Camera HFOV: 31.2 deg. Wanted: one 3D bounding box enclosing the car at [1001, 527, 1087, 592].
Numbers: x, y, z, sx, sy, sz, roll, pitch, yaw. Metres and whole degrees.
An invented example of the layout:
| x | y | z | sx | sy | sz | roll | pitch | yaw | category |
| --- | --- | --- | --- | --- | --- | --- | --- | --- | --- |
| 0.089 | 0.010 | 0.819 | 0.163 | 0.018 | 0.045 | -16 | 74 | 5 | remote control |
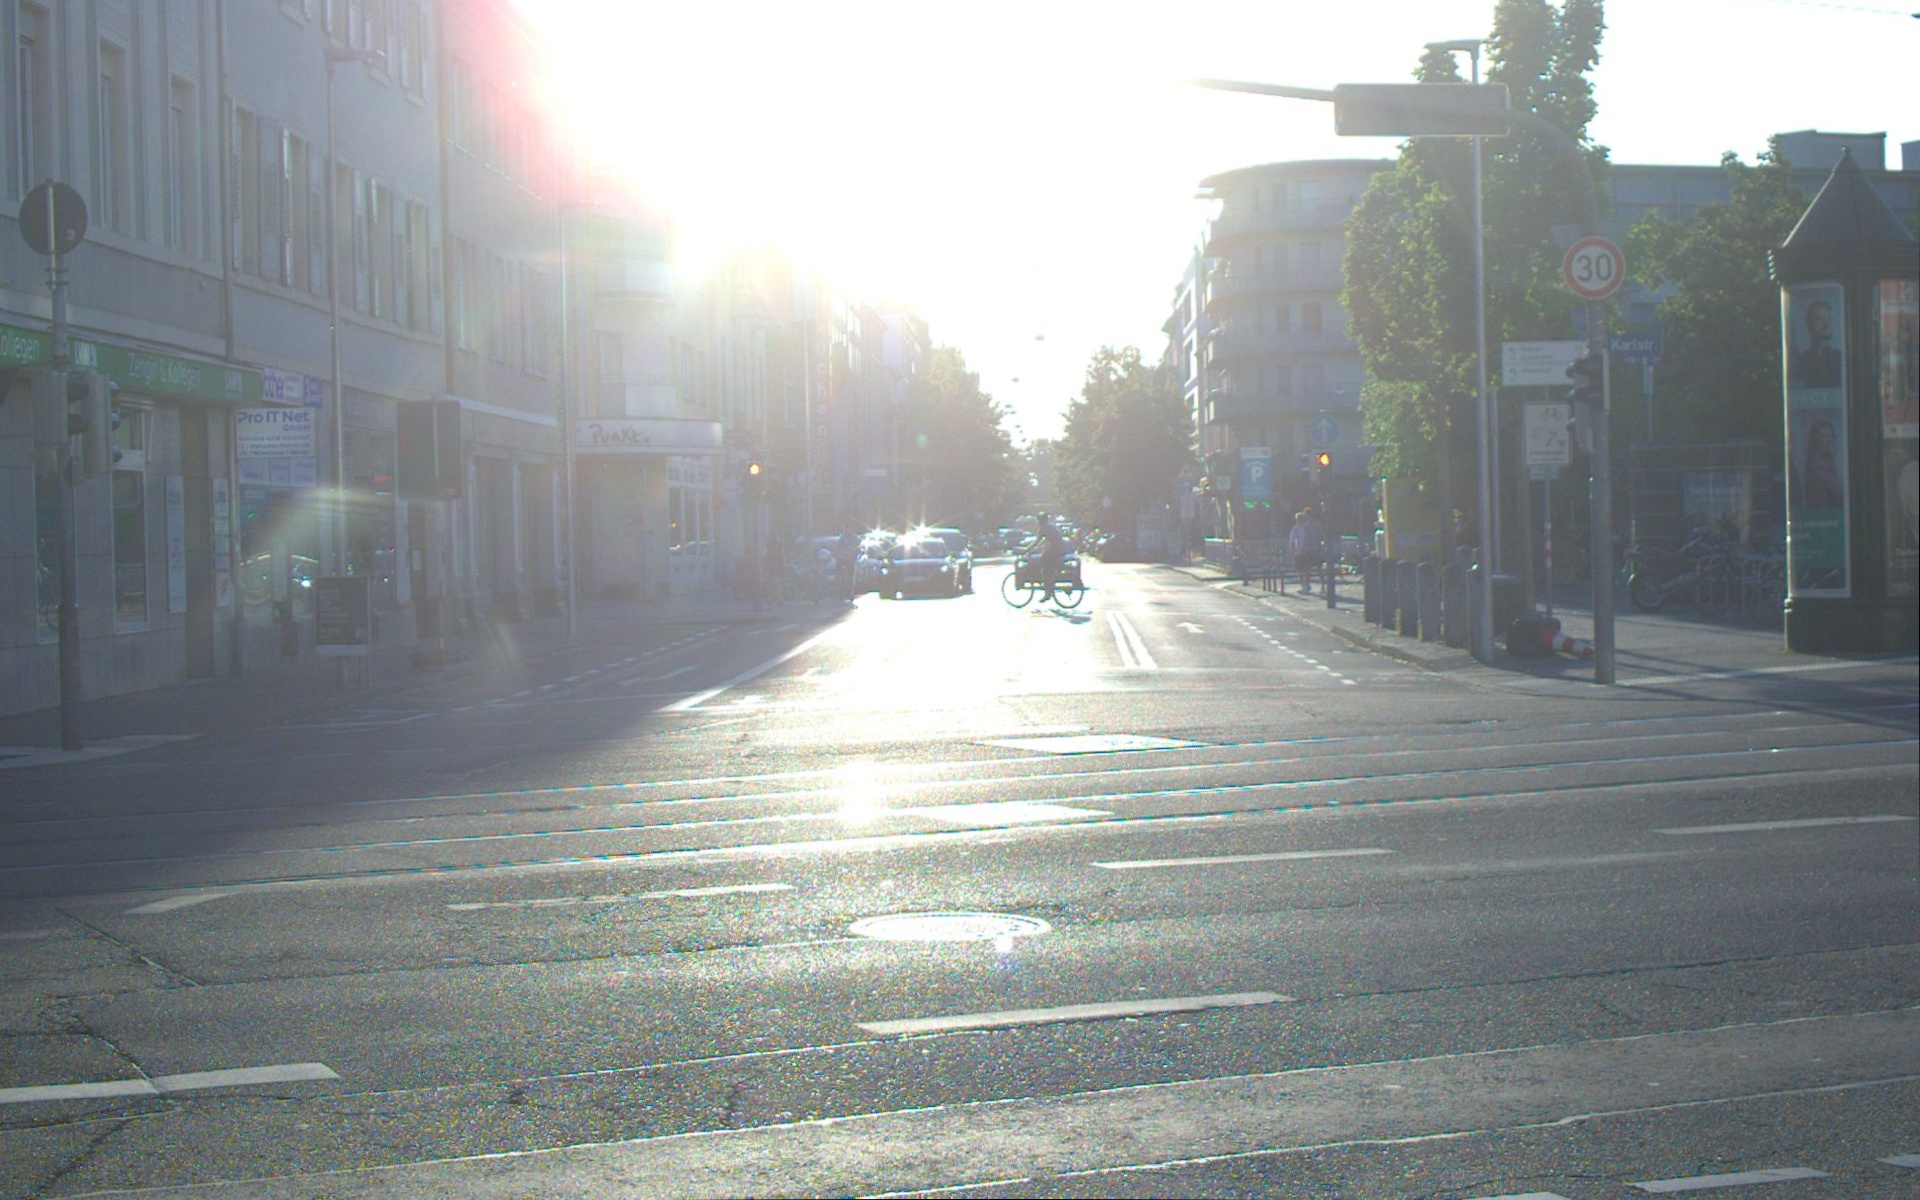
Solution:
| x | y | z | sx | sy | sz | roll | pitch | yaw | category |
| --- | --- | --- | --- | --- | --- | --- | --- | --- | --- |
| 2.355 | -1.155 | 95.798 | 2.304 | 1.672 | 5.532 | -2 | 1 | 2 | car |

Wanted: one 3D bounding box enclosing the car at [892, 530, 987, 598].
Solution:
| x | y | z | sx | sy | sz | roll | pitch | yaw | category |
| --- | --- | --- | --- | --- | --- | --- | --- | --- | --- |
| -0.502 | -0.990 | 91.588 | 2.304 | 1.672 | 5.532 | -2 | 1 | 2 | car |

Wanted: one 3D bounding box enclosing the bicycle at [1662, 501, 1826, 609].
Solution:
| x | y | z | sx | sy | sz | roll | pitch | yaw | category |
| --- | --- | --- | --- | --- | --- | --- | --- | --- | --- |
| 11.439 | -0.659 | 50.215 | 2.222 | 1.517 | 0.681 | -1 | 1 | 3 | bicycle |

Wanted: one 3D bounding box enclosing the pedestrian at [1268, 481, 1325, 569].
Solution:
| x | y | z | sx | sy | sz | roll | pitch | yaw | category |
| --- | --- | --- | --- | --- | --- | --- | --- | --- | --- |
| 7.650 | -1.711 | 78.141 | 0.992 | 1.950 | 0.805 | -1 | 1 | 28 | pedestrian |

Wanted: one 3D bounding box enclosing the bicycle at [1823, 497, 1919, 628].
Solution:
| x | y | z | sx | sy | sz | roll | pitch | yaw | category |
| --- | --- | --- | --- | --- | --- | --- | --- | --- | --- |
| 11.283 | -0.463 | 40.703 | 1.986 | 1.517 | 0.479 | -1 | 1 | 2 | bicycle |

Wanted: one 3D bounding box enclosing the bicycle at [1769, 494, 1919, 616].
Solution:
| x | y | z | sx | sy | sz | roll | pitch | yaw | category |
| --- | --- | --- | --- | --- | --- | --- | --- | --- | --- |
| 11.458 | -0.579 | 44.148 | 1.986 | 1.517 | 0.479 | -1 | 1 | 3 | bicycle |

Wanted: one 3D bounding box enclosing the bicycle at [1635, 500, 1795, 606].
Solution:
| x | y | z | sx | sy | sz | roll | pitch | yaw | category |
| --- | --- | --- | --- | --- | --- | --- | --- | --- | --- |
| 11.323 | -0.704 | 51.603 | 2.222 | 1.517 | 0.681 | -1 | 1 | 3 | bicycle |

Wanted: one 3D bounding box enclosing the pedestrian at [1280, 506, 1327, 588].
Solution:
| x | y | z | sx | sy | sz | roll | pitch | yaw | category |
| --- | --- | --- | --- | --- | --- | --- | --- | --- | --- |
| 7.667 | -1.192 | 76.688 | 0.804 | 1.780 | 0.993 | -3 | 0 | 16 | pedestrian |

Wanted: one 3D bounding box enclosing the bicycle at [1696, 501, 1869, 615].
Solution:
| x | y | z | sx | sy | sz | roll | pitch | yaw | category |
| --- | --- | --- | --- | --- | --- | --- | --- | --- | --- |
| 11.434 | -0.584 | 47.836 | 2.222 | 1.517 | 0.681 | -1 | 1 | 3 | bicycle |

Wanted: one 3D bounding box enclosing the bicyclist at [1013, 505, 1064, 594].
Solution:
| x | y | z | sx | sy | sz | roll | pitch | yaw | category |
| --- | --- | --- | --- | --- | --- | --- | --- | --- | --- |
| 1.516 | -0.971 | 66.392 | 0.668 | 1.701 | 0.679 | -1 | 1 | 37 | bicyclist |

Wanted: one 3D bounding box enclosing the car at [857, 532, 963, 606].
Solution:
| x | y | z | sx | sy | sz | roll | pitch | yaw | category |
| --- | --- | --- | --- | --- | --- | --- | --- | --- | --- |
| -1.174 | -0.778 | 84.018 | 2.304 | 1.672 | 5.532 | -2 | 1 | 2 | car |

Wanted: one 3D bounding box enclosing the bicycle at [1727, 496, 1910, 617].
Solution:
| x | y | z | sx | sy | sz | roll | pitch | yaw | category |
| --- | --- | --- | --- | --- | --- | --- | --- | --- | --- |
| 11.276 | -0.575 | 45.197 | 2.222 | 1.517 | 0.681 | -1 | 1 | 3 | bicycle |

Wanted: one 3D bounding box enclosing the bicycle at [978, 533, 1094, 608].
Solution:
| x | y | z | sx | sy | sz | roll | pitch | yaw | category |
| --- | --- | --- | --- | --- | --- | --- | --- | --- | --- |
| 1.457 | -0.568 | 66.445 | 2.227 | 1.397 | 0.679 | -1 | 1 | 37 | bicycle |

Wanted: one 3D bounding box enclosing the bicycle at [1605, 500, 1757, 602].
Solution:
| x | y | z | sx | sy | sz | roll | pitch | yaw | category |
| --- | --- | --- | --- | --- | --- | --- | --- | --- | --- |
| 11.180 | -0.762 | 53.370 | 2.223 | 1.517 | 0.681 | -1 | 1 | 7 | bicycle |

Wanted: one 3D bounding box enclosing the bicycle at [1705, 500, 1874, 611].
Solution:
| x | y | z | sx | sy | sz | roll | pitch | yaw | category |
| --- | --- | --- | --- | --- | --- | --- | --- | --- | --- |
| 11.841 | -0.632 | 49.119 | 2.222 | 1.517 | 0.681 | -1 | 1 | 3 | bicycle |
